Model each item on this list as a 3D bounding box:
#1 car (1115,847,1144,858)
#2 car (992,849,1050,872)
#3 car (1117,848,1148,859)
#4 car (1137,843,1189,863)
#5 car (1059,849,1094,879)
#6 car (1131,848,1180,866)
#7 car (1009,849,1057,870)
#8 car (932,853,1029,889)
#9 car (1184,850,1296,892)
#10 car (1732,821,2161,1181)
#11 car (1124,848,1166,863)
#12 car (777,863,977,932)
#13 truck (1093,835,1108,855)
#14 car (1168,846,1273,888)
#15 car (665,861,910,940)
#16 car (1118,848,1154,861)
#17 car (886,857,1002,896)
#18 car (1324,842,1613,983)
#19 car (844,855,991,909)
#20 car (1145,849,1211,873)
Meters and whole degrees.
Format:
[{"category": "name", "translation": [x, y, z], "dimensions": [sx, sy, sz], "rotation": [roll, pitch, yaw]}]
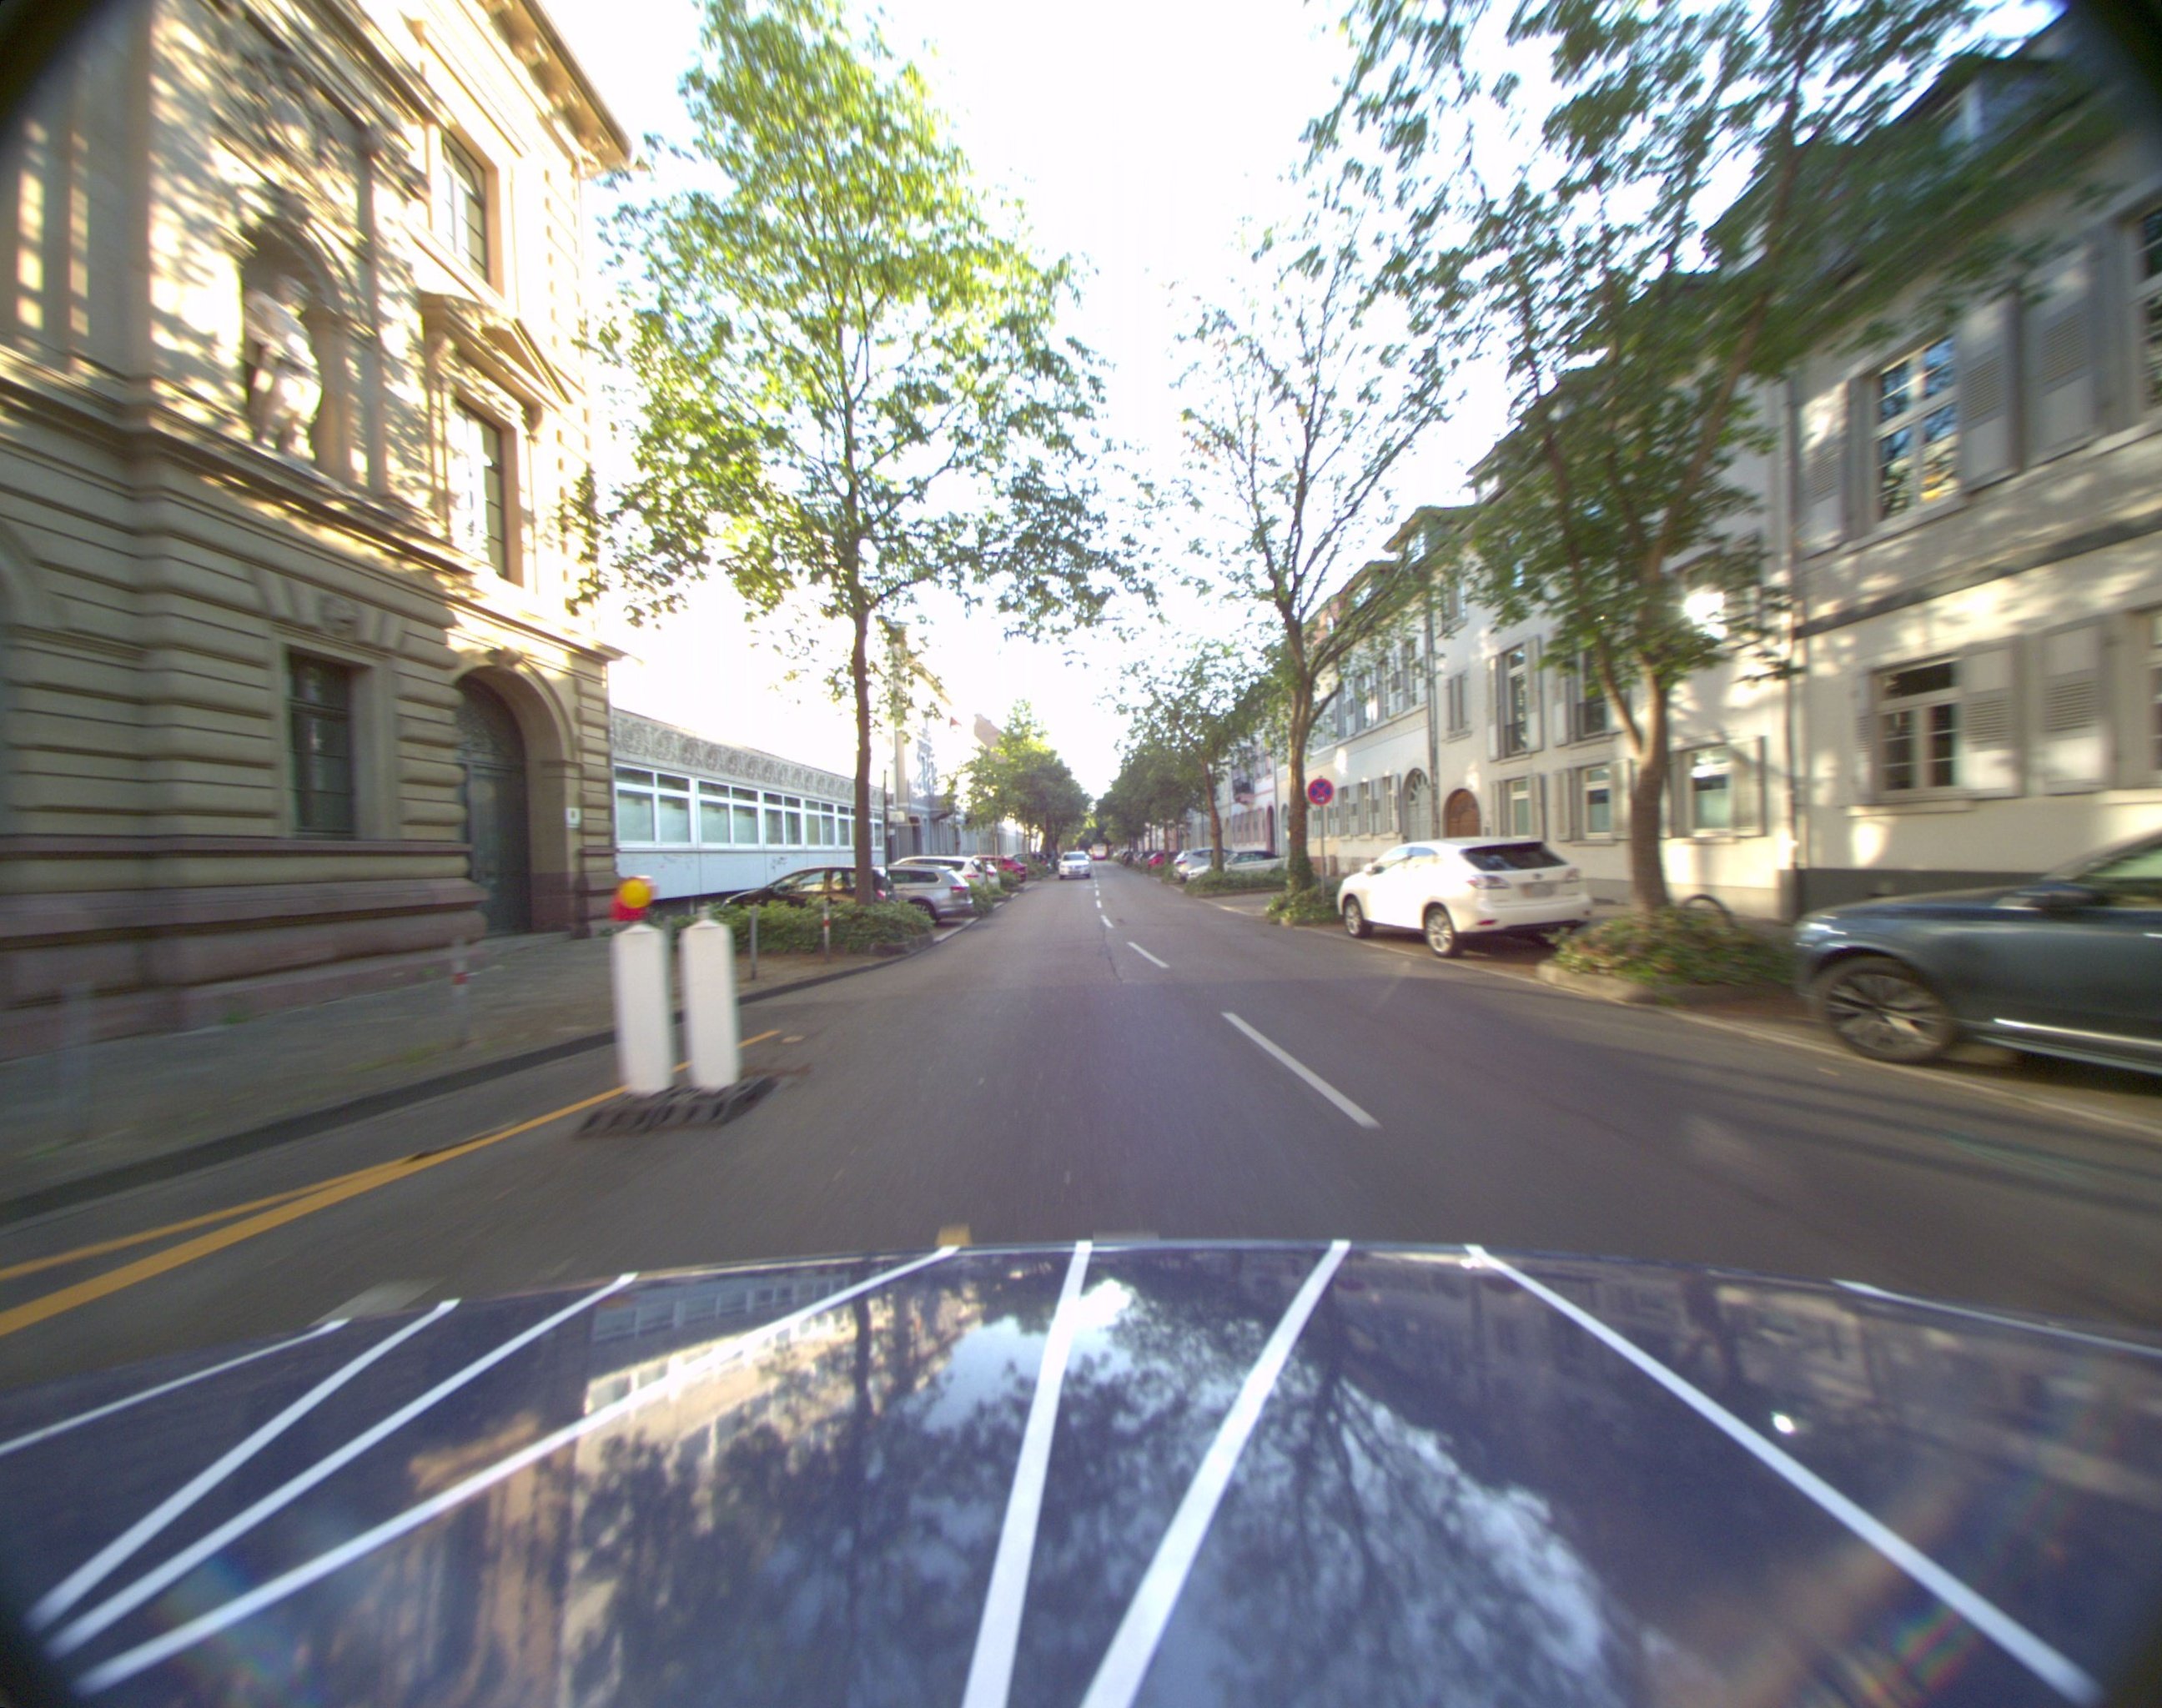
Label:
[{"category": "car", "translation": [7.372, -0.197, 116.410], "dimensions": [4.230, 1.508, 1.969], "rotation": [-2, 1, -2]}, {"category": "car", "translation": [-4.602, 0.483, 58.655], "dimensions": [4.368, 1.768, 1.733], "rotation": [0, 1, -2]}, {"category": "car", "translation": [7.327, -0.081, 107.932], "dimensions": [4.230, 1.468, 1.969], "rotation": [-2, 1, -2]}, {"category": "car", "translation": [7.074, -0.085, 65.996], "dimensions": [4.230, 1.654, 1.800], "rotation": [-2, 1, -2]}, {"category": "car", "translation": [-0.245, 0.544, 46.001], "dimensions": [1.957, 1.667, 4.542], "rotation": [-2, 1, 1]}, {"category": "car", "translation": [6.907, 0.251, 70.660], "dimensions": [4.230, 1.509, 1.759], "rotation": [-2, 1, -2]}, {"category": "car", "translation": [-4.432, 0.463, 70.293], "dimensions": [4.368, 1.862, 1.733], "rotation": [-1, 1, -2]}, {"category": "car", "translation": [-4.676, 0.800, 35.736], "dimensions": [4.368, 1.615, 1.733], "rotation": [0, 1, -2]}, {"category": "car", "translation": [6.391, 0.663, 30.872], "dimensions": [4.228, 1.536, 1.801], "rotation": [-2, 1, 4]}, {"category": "car", "translation": [6.487, 0.746, 3.735], "dimensions": [1.833, 1.749, 5.045], "rotation": [-6, 1, -5]}, {"category": "car", "translation": [6.836, 0.195, 81.469], "dimensions": [4.230, 1.468, 1.853], "rotation": [-2, 1, -2]}, {"category": "car", "translation": [-4.819, 1.011, 18.347], "dimensions": [4.368, 1.487, 1.672], "rotation": [1, 1, 0]}, {"category": "truck", "translation": [3.901, -1.713, 149.597], "dimensions": [2.748, 3.723, 7.855], "rotation": [-2, 1, 2]}, {"category": "car", "translation": [6.125, 0.542, 33.609], "dimensions": [4.230, 1.680, 1.800], "rotation": [-2, 1, -2]}, {"category": "car", "translation": [-5.916, 0.926, 15.729], "dimensions": [4.369, 1.456, 1.833], "rotation": [1, 1, -3]}, {"category": "car", "translation": [6.724, 0.037, 93.930], "dimensions": [4.230, 1.468, 1.969], "rotation": [-2, 1, -2]}, {"category": "car", "translation": [-5.477, 0.893, 30.734], "dimensions": [4.368, 1.485, 1.886], "rotation": [0, 1, -2]}, {"category": "car", "translation": [5.807, 0.741, 12.212], "dimensions": [1.833, 1.658, 4.654], "rotation": [-6, 1, -5]}, {"category": "car", "translation": [-5.223, 0.869, 24.816], "dimensions": [4.368, 1.633, 2.054], "rotation": [1, 1, -2]}, {"category": "car", "translation": [6.578, 0.433, 51.788], "dimensions": [4.230, 1.499, 1.800], "rotation": [-2, 1, -2]}]
